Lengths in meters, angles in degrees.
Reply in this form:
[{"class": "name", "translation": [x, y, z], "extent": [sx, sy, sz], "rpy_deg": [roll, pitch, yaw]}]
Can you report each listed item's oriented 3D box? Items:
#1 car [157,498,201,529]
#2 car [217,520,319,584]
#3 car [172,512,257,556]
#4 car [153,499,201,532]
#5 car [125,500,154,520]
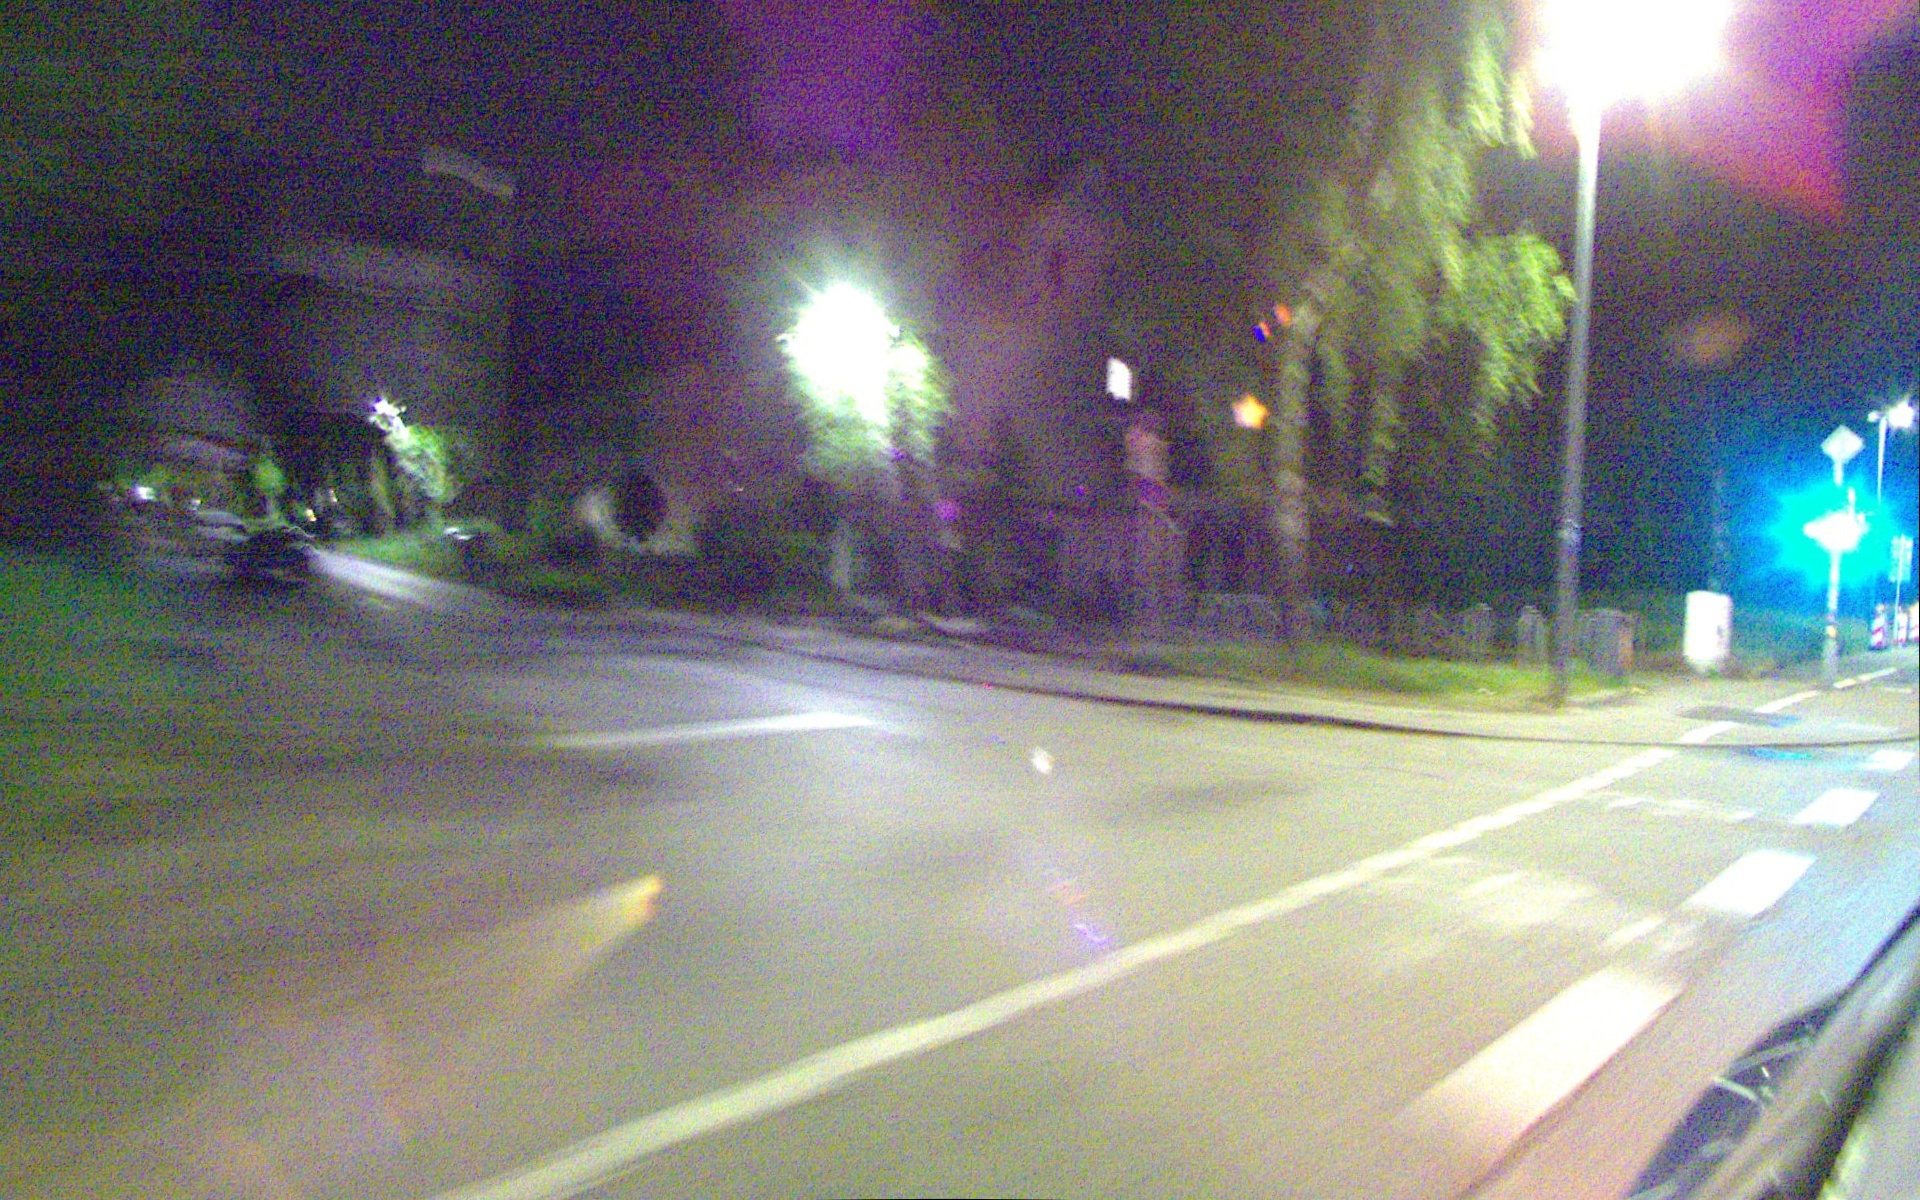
[{"class": "car", "translation": [-45.661, -5.036, 59.202], "extent": [1.963, 1.615, 3.999], "rpy_deg": [0, 3, -38]}, {"class": "car", "translation": [-17.738, -1.254, 25.873], "extent": [1.719, 1.490, 3.780], "rpy_deg": [0, 3, -41]}, {"class": "car", "translation": [-26.858, -2.389, 36.413], "extent": [3.989, 1.448, 1.821], "rpy_deg": [5, 3, 44]}, {"class": "car", "translation": [-42.619, -4.579, 55.130], "extent": [1.963, 1.615, 3.999], "rpy_deg": [0, 3, -38]}, {"class": "car", "translation": [-76.143, -8.342, 93.922], "extent": [1.963, 1.615, 3.999], "rpy_deg": [0, 3, -38]}]
